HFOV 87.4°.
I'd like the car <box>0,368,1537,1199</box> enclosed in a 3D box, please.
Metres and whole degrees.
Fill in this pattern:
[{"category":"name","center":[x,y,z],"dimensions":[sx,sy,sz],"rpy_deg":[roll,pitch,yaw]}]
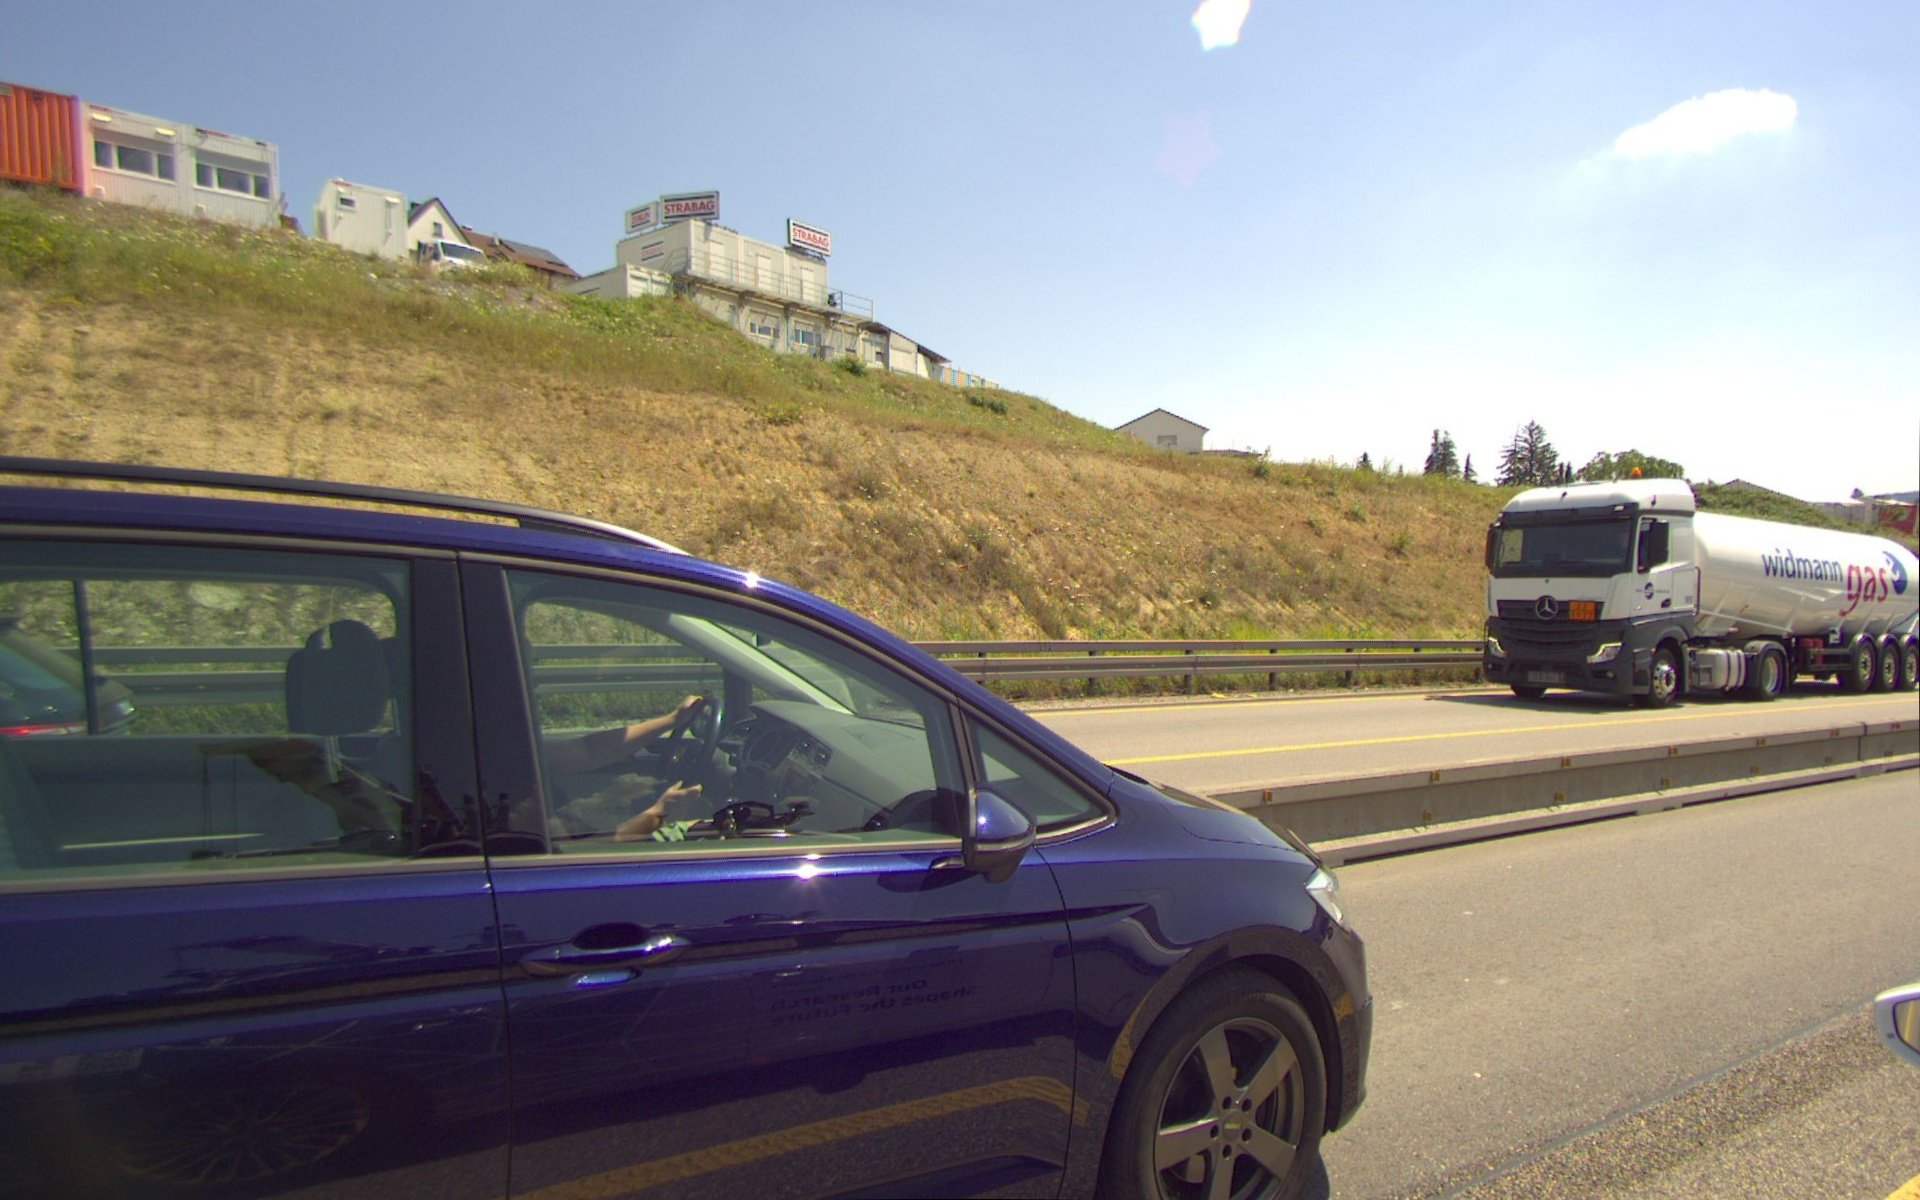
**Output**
[{"category":"car","center":[-0.884,0.592,2.293],"dimensions":[4.597,1.741,1.767],"rpy_deg":[0,1,-30]}]

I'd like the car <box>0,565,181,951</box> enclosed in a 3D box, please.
[{"category":"car","center":[-5.848,0.548,3.549],"dimensions":[4.666,1.477,1.770],"rpy_deg":[1,1,-31]}]

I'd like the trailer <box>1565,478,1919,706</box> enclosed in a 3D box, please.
[{"category":"trailer","center":[17.305,-0.075,21.060],"dimensions":[11.777,3.853,2.577],"rpy_deg":[1,1,-31]}]

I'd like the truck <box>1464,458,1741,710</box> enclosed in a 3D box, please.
[{"category":"truck","center":[11.108,-0.244,17.411],"dimensions":[3.722,3.853,2.578],"rpy_deg":[1,1,-30]}]
